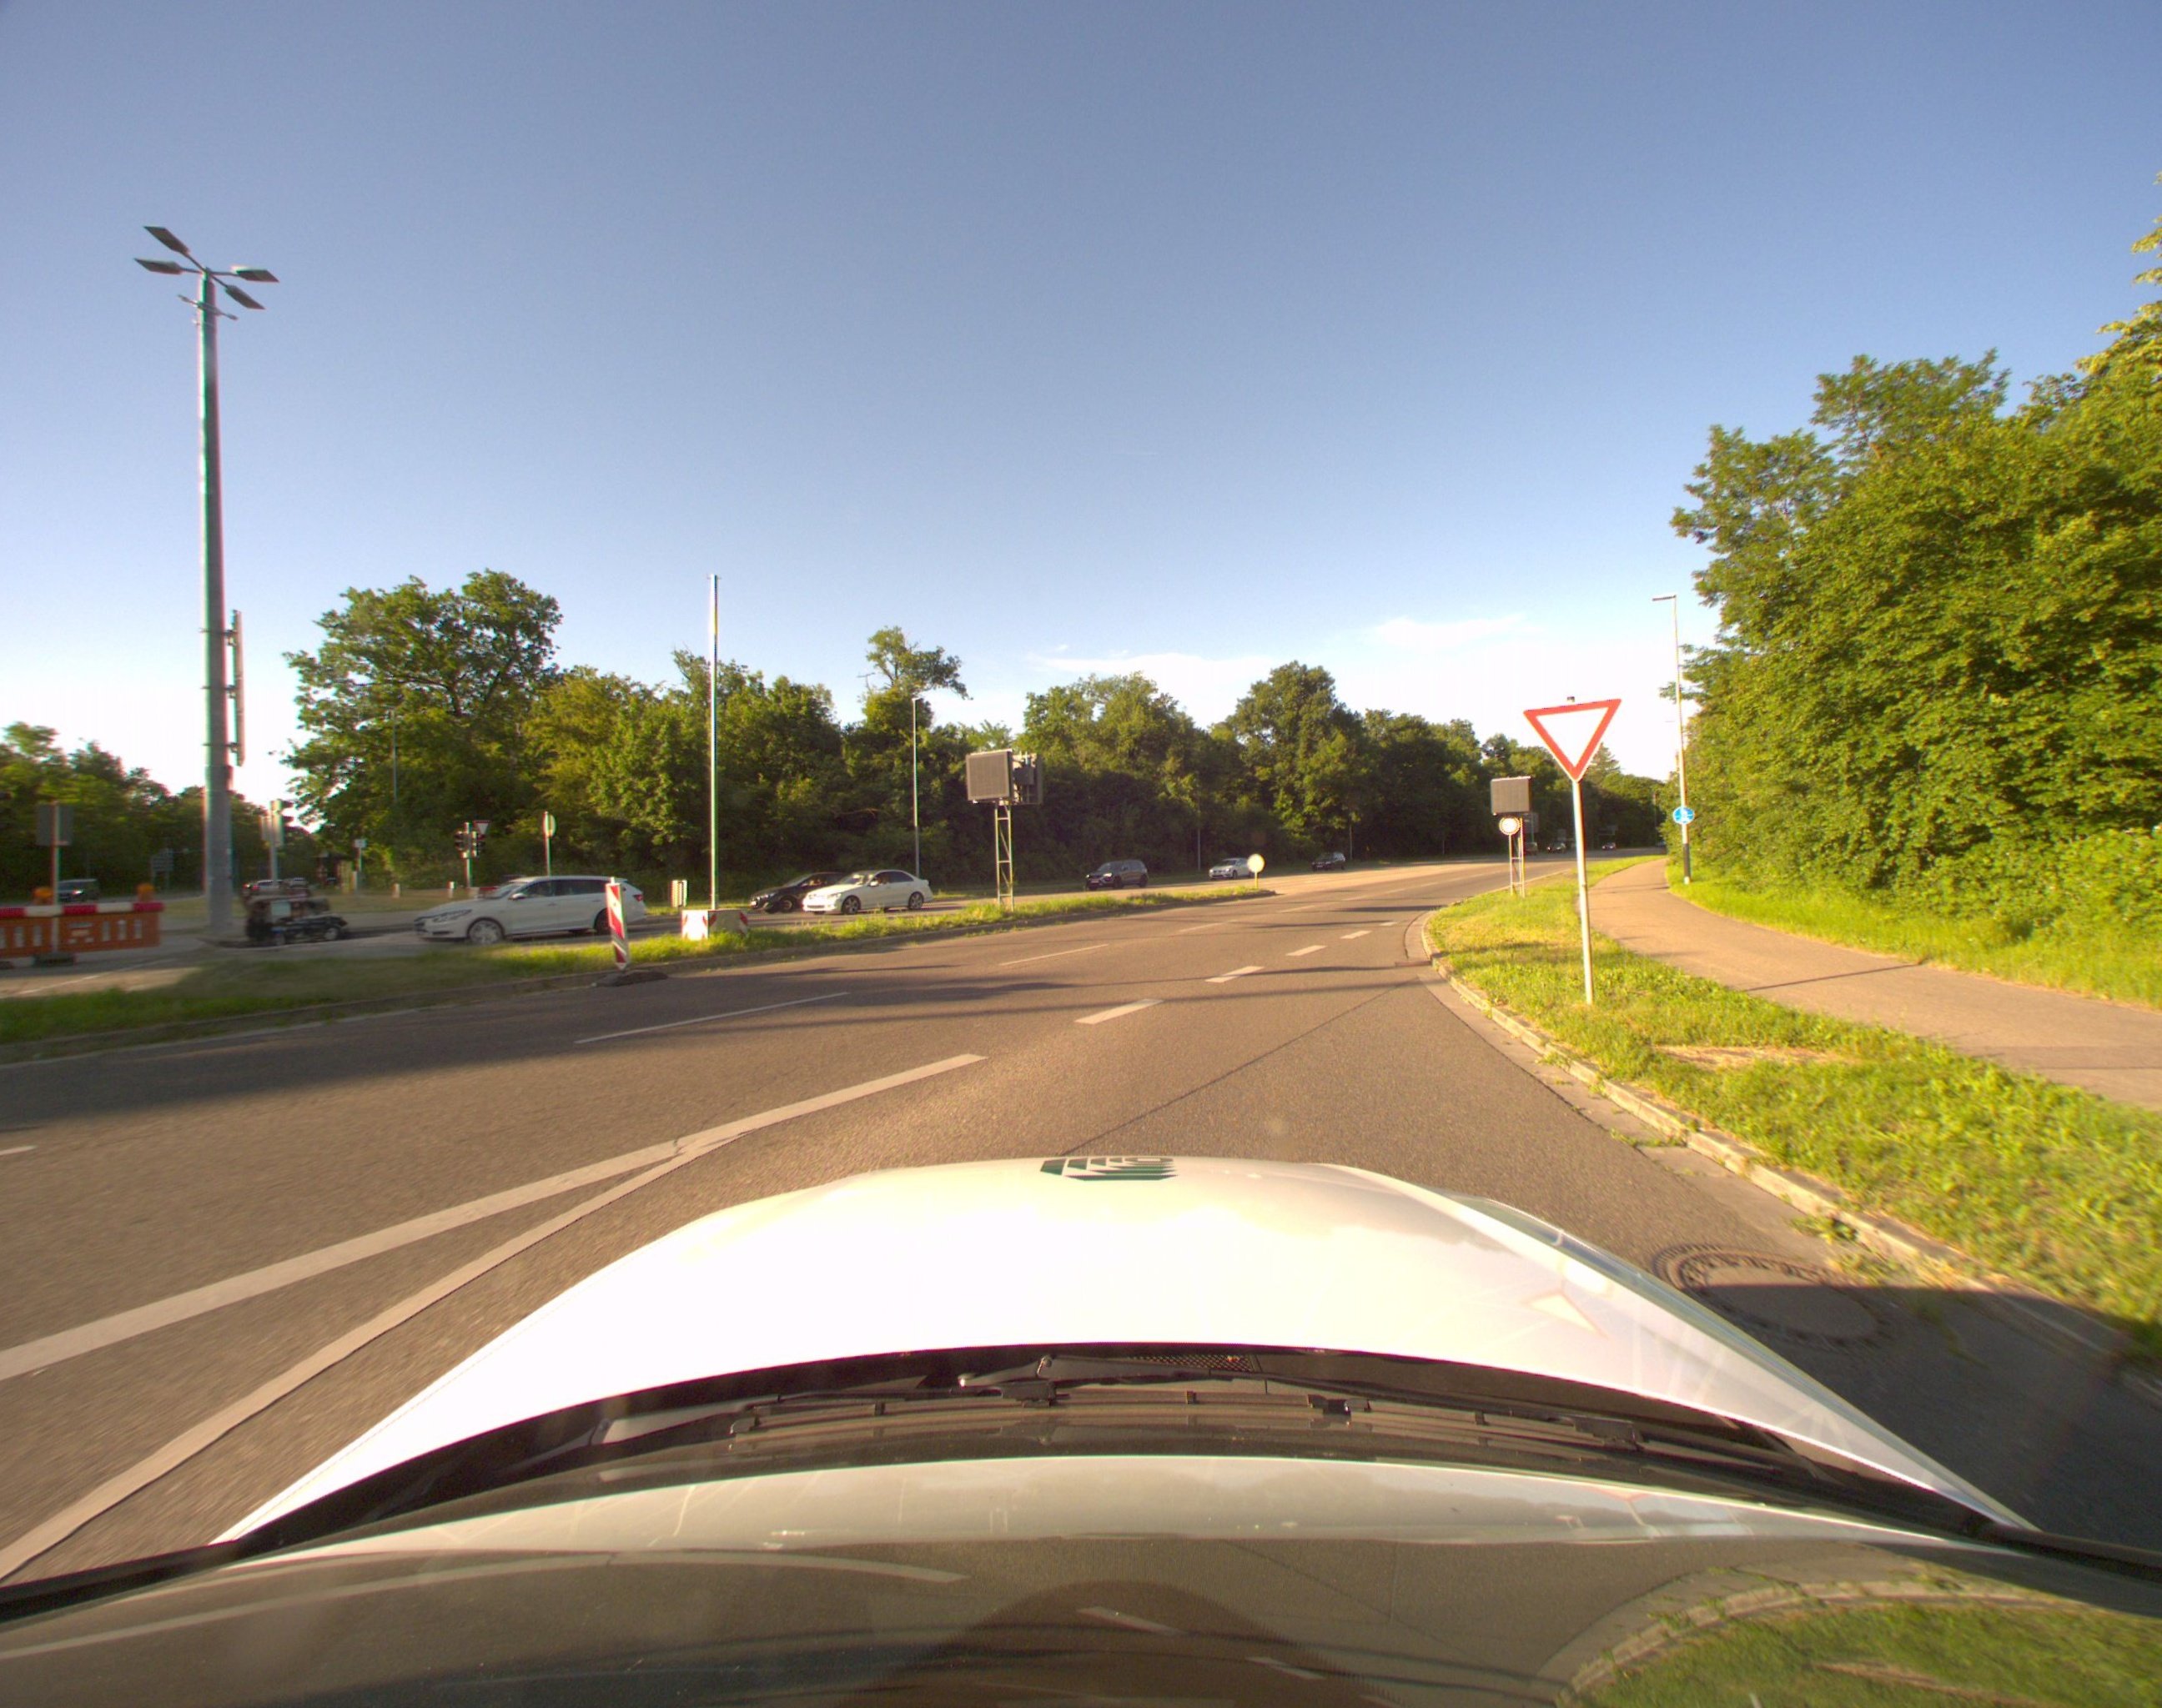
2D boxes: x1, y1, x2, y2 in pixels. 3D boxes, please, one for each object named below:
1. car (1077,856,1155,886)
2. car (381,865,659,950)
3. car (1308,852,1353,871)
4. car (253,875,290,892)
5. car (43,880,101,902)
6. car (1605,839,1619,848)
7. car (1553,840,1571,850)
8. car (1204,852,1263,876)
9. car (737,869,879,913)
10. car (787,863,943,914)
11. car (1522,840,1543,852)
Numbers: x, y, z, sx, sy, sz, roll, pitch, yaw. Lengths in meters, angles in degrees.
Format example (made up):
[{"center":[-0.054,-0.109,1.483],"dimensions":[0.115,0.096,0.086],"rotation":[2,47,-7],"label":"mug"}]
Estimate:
[{"center":[1.996,0.906,45.103],"dimensions":[1.974,1.529,4.681],"rotation":[-2,0,37],"label":"car"},{"center":[-12.671,1.121,18.757],"dimensions":[1.974,1.580,4.864],"rotation":[-2,0,33],"label":"car"},{"center":[21.356,0.618,69.521],"dimensions":[1.974,1.529,4.680],"rotation":[-2,0,40],"label":"car"},{"center":[-71.573,2.612,72.017],"dimensions":[1.956,1.414,3.953],"rotation":[-1,0,-40],"label":"car"},{"center":[-82.191,2.975,66.396],"dimensions":[2.010,1.654,4.200],"rotation":[-1,0,-38],"label":"car"},{"center":[103.592,-2.070,158.902],"dimensions":[1.974,1.529,4.681],"rotation":[-2,0,37],"label":"car"},{"center":[78.231,-1.468,132.404],"dimensions":[1.974,1.529,4.681],"rotation":[-2,0,37],"label":"car"},{"center":[10.574,0.694,56.256],"dimensions":[1.974,1.529,4.681],"rotation":[-2,0,39],"label":"car"},{"center":[-10.071,1.317,30.387],"dimensions":[1.974,1.384,4.681],"rotation":[-2,0,37],"label":"car"},{"center":[-7.010,1.075,26.950],"dimensions":[1.974,1.436,4.838],"rotation":[-2,0,34],"label":"car"},{"center":[63.940,-1.149,115.248],"dimensions":[1.974,1.529,4.681],"rotation":[-2,0,37],"label":"car"}]
